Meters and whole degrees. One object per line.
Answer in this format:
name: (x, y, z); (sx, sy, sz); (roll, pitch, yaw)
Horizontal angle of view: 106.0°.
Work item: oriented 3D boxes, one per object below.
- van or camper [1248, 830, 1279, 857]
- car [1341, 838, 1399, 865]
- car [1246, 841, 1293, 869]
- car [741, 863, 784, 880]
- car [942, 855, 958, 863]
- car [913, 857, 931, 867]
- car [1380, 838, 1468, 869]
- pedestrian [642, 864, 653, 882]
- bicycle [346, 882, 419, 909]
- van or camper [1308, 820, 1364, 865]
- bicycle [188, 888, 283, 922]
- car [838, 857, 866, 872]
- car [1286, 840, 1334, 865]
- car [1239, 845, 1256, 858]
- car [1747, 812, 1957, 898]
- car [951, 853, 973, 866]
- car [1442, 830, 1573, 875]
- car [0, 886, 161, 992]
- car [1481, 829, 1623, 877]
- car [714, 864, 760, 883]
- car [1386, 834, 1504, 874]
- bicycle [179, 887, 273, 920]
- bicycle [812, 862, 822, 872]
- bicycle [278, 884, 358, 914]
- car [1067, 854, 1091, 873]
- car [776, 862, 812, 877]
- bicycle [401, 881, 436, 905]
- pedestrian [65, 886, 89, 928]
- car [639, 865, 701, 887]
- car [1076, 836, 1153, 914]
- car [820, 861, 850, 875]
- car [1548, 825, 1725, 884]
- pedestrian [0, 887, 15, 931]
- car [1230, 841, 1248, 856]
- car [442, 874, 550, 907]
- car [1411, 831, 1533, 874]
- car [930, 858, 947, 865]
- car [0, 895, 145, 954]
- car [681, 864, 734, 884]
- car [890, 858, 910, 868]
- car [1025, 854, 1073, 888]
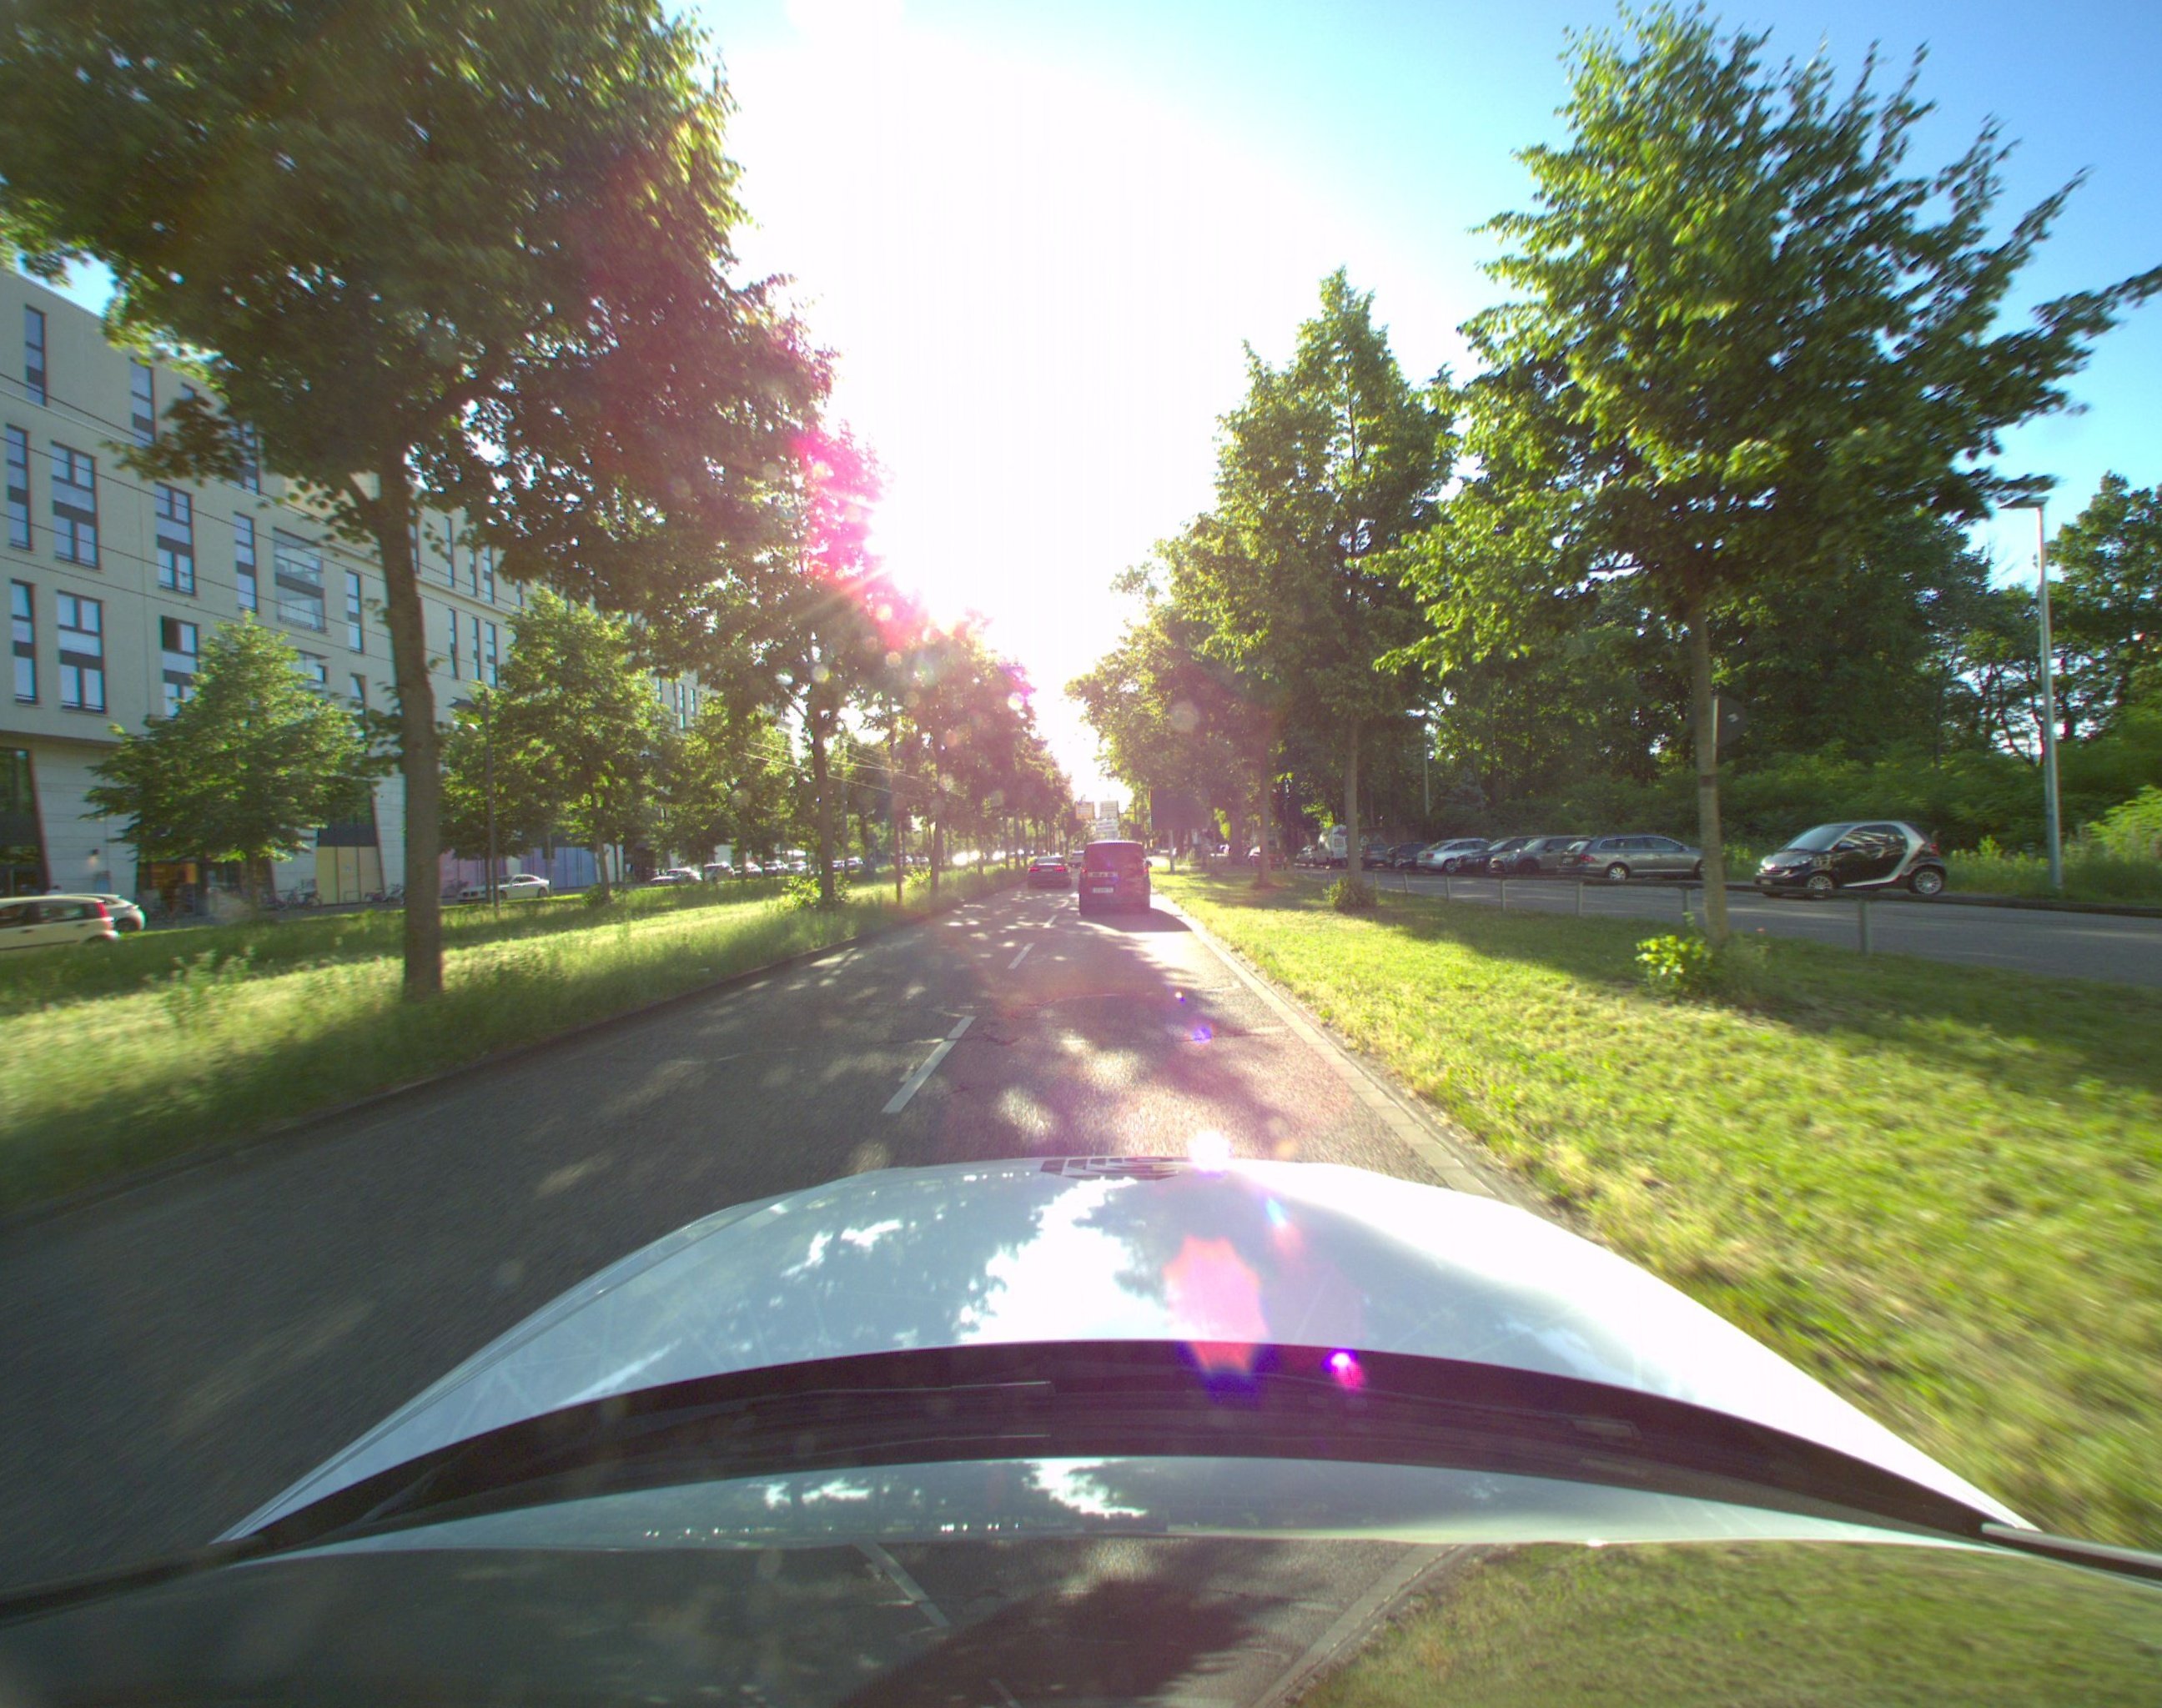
van or camper: (20.352, -1.183, 90.953); (2.543, 2.684, 6.577); (-4, 0, 7)
car: (17.536, -0.141, 49.603); (1.988, 1.574, 3.997); (0, 0, -2)
car: (11.700, 0.054, 50.775); (1.987, 1.640, 4.000); (0, 0, 0)
car: (-29.068, 1.621, 74.554); (1.987, 1.441, 4.935); (0, 0, 0)
car: (-25.644, 0.930, 159.643); (1.985, 1.608, 4.615); (0, 0, 3)
car: (-26.836, 1.288, 137.873); (1.871, 1.621, 4.615); (0, 0, 3)
car: (18.233, -0.041, 43.381); (3.979, 1.504, 1.763); (-2, 0, -4)
pedestrian: (-38.853, 1.702, 72.961); (0.634, 1.651, 0.719); (0, 0, -5)
bicycle: (-36.873, 2.166, 43.024); (2.777, 1.281, 0.941); (0, 0, -27)
van or camper: (17.258, -0.736, 55.398); (1.988, 2.731, 4.962); (-5, 0, -1)
bicycle: (-36.389, 2.164, 35.115); (0.941, 1.281, 2.778); (-1, 0, 9)
car: (-27.763, 1.265, 98.826); (1.987, 1.772, 4.775); (0, 0, 0)
car: (17.209, -0.110, 61.404); (1.839, 1.617, 3.988); (-6, 1, -8)
car: (20.446, -0.301, 100.256); (1.681, 1.472, 3.766); (-4, 0, 8)
car: (15.825, 0.026, 16.857); (2.748, 1.550, 1.466); (-3, -1, 11)
car: (-16.242, 0.728, 111.275); (1.986, 1.686, 5.112); (0, 0, 2)
car: (17.306, -0.076, 33.174); (4.317, 1.477, 1.906); (-4, 1, -2)
car: (-22.416, 1.754, 16.890); (1.984, 2.013, 4.005); (0, 0, 5)
car: (17.204, -0.046, 29.868); (4.179, 1.498, 1.781); (-3, 0, -1)
car: (-28.950, 1.607, 68.743); (1.987, 1.441, 4.455); (0, 0, 0)
car: (17.296, -0.006, 38.873); (4.701, 1.406, 2.001); (-5, 0, 2)
bicycle: (-37.420, 2.149, 35.713); (0.941, 1.281, 2.778); (-1, 0, 9)
bicycle: (-34.606, 1.697, 106.729); (0.585, 1.252, 1.841); (0, 0, 2)
bicycle: (-36.474, 2.149, 38.982); (0.941, 1.281, 2.778); (-1, 0, 9)
car: (-0.155, 0.847, 74.520); (1.986, 1.618, 4.002); (0, 0, 2)
car: (-28.619, 1.554, 81.382); (1.987, 1.441, 4.455); (0, 0, 0)
bicycle: (-36.704, 2.154, 45.127); (0.596, 1.281, 1.608); (0, 0, 0)
pedestrian: (-37.771, 1.980, 30.638); (0.496, 1.549, 0.525); (-1, -1, 44)
car: (-29.296, 1.541, 58.201); (1.987, 1.441, 4.778); (0, 0, 0)
car: (0.780, 0.499, 21.202); (1.803, 1.838, 3.998); (0, 0, -1)
car: (-27.844, 1.562, 92.322); (1.950, 1.441, 4.268); (0, 0, 2)
car: (16.594, 0.027, 24.475); (4.063, 1.468, 1.717); (-4, 0, 2)
pedestrian: (-39.094, 1.989, 29.506); (0.496, 1.549, 0.525); (-1, -1, 44)
car: (22.060, -0.771, 113.962); (2.076, 2.013, 4.952); (-2, 0, 7)
car: (-29.940, 1.824, 41.903); (1.987, 1.441, 4.924); (0, 0, 0)
car: (17.182, -0.071, 35.961); (4.361, 1.410, 2.003); (-6, 0, 4)
car: (-25.679, 1.333, 147.060); (1.904, 1.325, 4.615); (0, 0, 3)
car: (-30.376, 2.014, 23.524); (1.987, 1.441, 4.018); (0, 0, 0)
car: (-28.891, 1.516, 63.154); (1.986, 1.441, 4.458); (0, 0, 2)
car: (-27.508, 1.323, 123.560); (1.872, 1.434, 4.611); (-2, 0, 1)
car: (-1.354, 0.711, 35.924); (1.785, 1.428, 4.002); (0, 0, 2)
